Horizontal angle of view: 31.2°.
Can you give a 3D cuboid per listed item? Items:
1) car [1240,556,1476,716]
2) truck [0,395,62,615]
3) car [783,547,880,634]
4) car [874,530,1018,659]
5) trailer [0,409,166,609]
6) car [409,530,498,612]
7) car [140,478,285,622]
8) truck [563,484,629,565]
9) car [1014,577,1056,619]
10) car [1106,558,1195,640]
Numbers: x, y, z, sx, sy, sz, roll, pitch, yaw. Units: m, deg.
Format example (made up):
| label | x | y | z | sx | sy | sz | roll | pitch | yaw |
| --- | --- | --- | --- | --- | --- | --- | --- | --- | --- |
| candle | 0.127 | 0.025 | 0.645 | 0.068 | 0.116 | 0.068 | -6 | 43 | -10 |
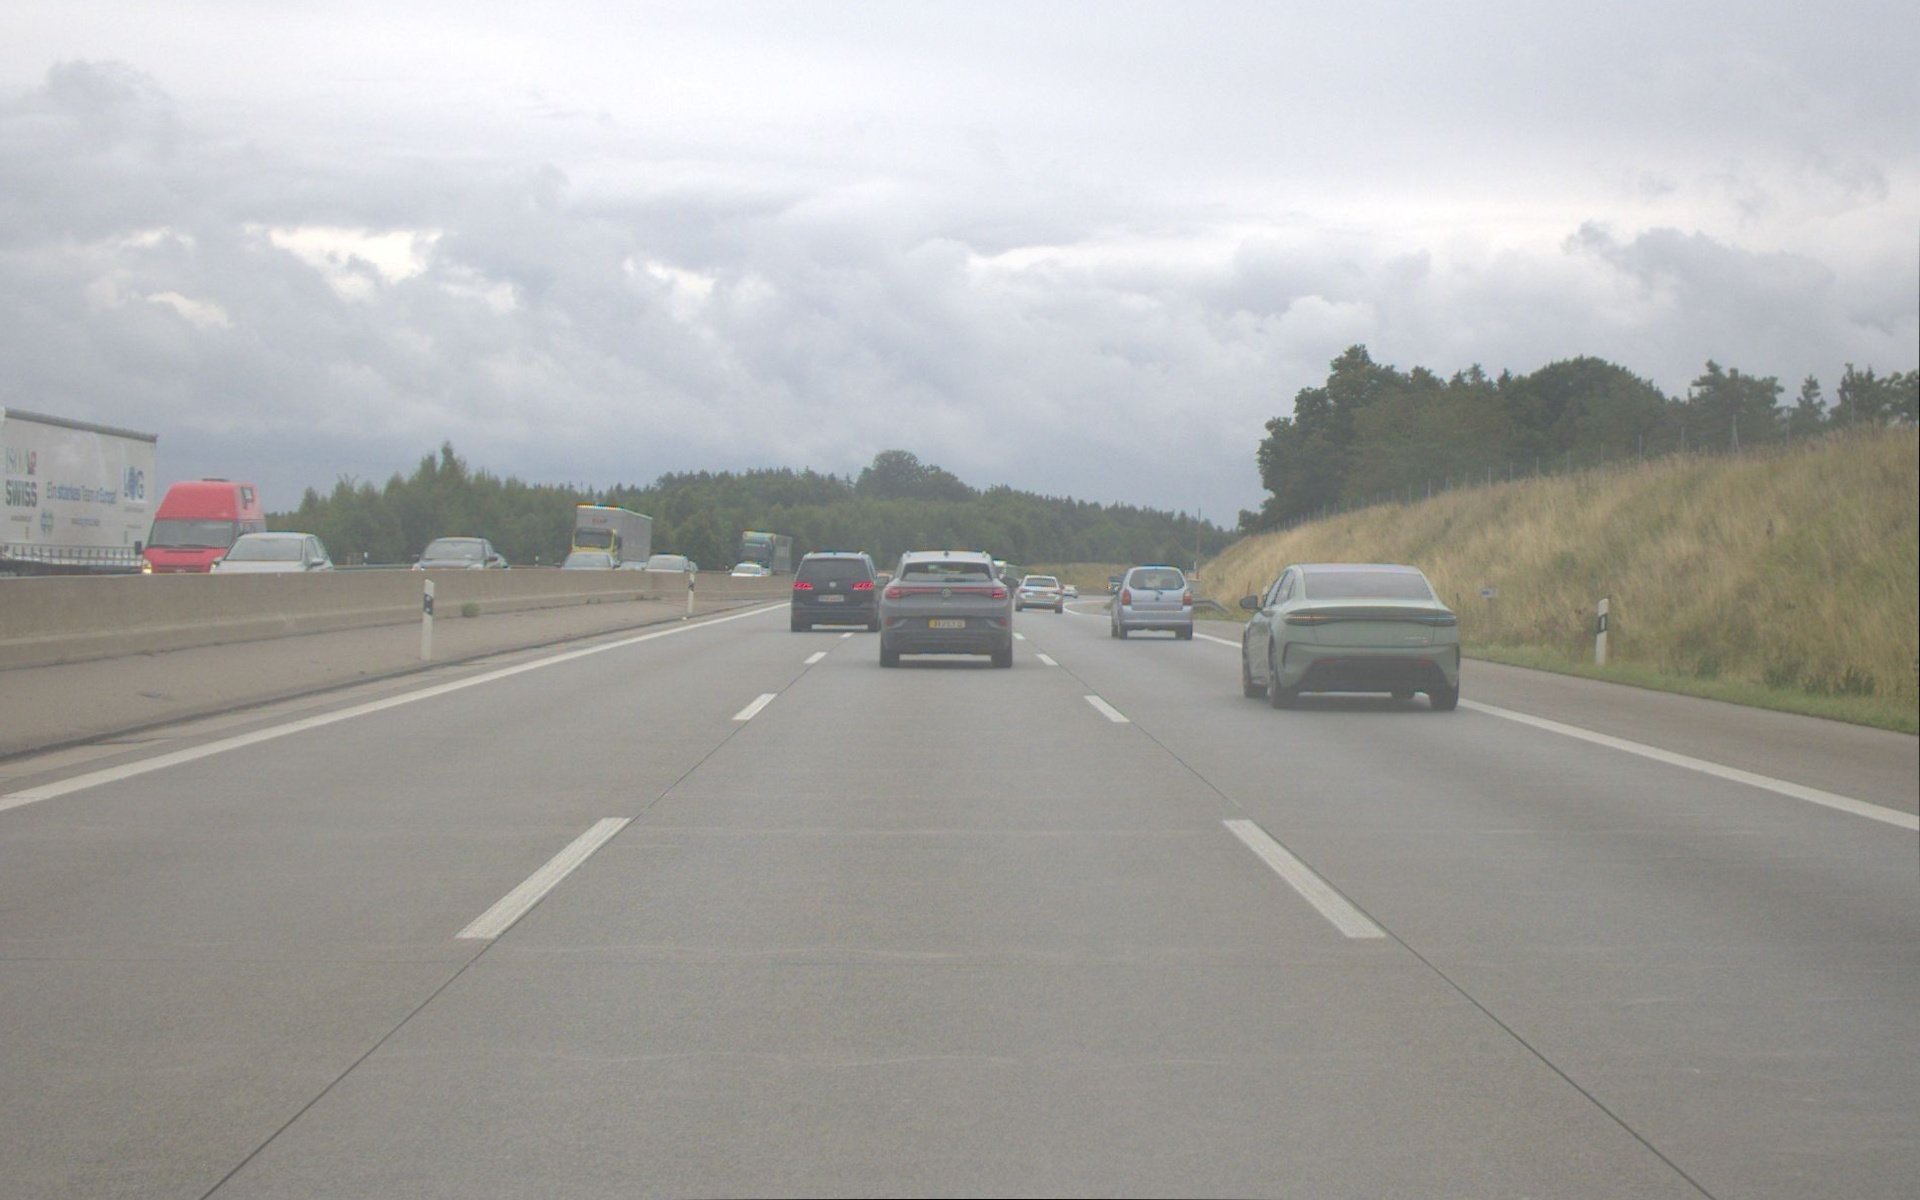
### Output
| label | x | y | z | sx | sy | sz | roll | pitch | yaw |
| --- | --- | --- | --- | --- | --- | --- | --- | --- | --- |
| car | 4.010 | 0.315 | 35.352 | 2.014 | 1.441 | 4.745 | 1 | 2 | 2 |
| truck | -20.110 | -1.901 | 68.091 | 2.883 | 4.276 | 7.137 | 1 | 1 | -1 |
| car | -2.718 | -0.234 | 73.519 | 1.785 | 1.741 | 3.915 | 1 | 2 | 2 |
| car | -0.252 | -0.132 | 48.846 | 1.898 | 1.684 | 5.267 | 1 | 2 | -2 |
| trailer | -20.206 | -2.002 | 75.088 | 2.888 | 3.989 | 13.016 | 1 | 2 | -1 |
| car | -12.955 | -0.769 | 88.106 | 1.688 | 2.007 | 4.838 | 1 | 2 | -2 |
| car | -15.873 | -1.084 | 73.283 | 1.801 | 2.948 | 5.579 | 1 | 1 | 0 |
| truck | -19.151 | -4.007 | 181.023 | 2.931 | 4.166 | 5.858 | 1 | 1 | -1 |
| car | 2.903 | -0.100 | 133.796 | 1.485 | 1.465 | 3.505 | 3 | 2 | 0 |
| car | 3.787 | -0.047 | 68.657 | 1.485 | 1.465 | 3.505 | 3 | 2 | 0 |
